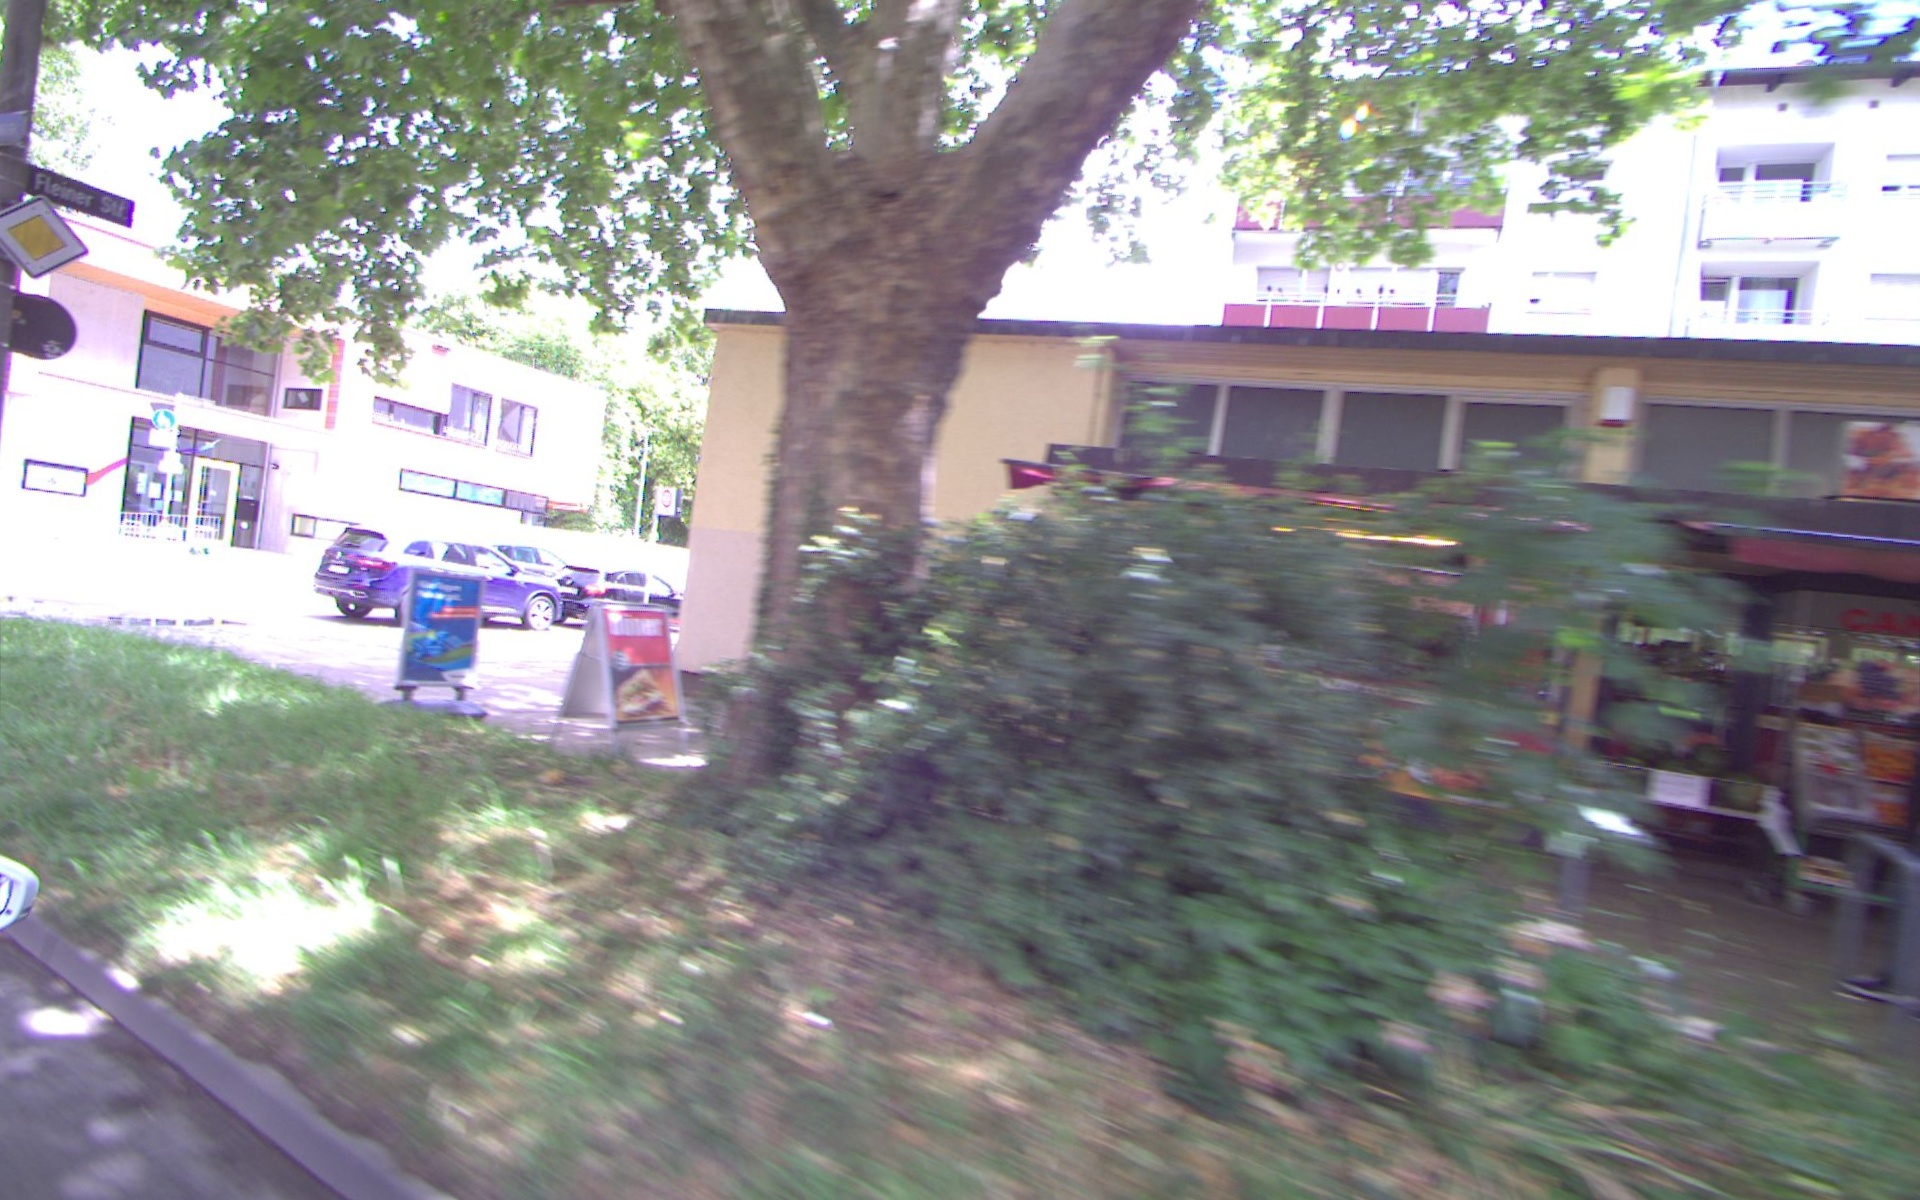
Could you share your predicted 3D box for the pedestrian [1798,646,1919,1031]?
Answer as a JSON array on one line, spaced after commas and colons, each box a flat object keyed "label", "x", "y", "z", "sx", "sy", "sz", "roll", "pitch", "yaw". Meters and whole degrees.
[{"label": "pedestrian", "x": 4.605, "y": 1.116, "z": 4.740, "sx": 0.759, "sy": 1.697, "sz": 0.624, "roll": 7, "pitch": 1, "yaw": 31}]

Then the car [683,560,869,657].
[{"label": "car", "x": -3.775, "y": 0.252, "z": 21.406, "sx": 1.778, "sy": 1.675, "sz": 4.103, "roll": 7, "pitch": 0, "yaw": 23}]

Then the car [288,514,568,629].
[{"label": "car", "x": -9.696, "y": -0.434, "z": 18.727, "sx": 1.976, "sy": 1.704, "sz": 4.187, "roll": 8, "pitch": 2, "yaw": 23}]

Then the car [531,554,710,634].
[{"label": "car", "x": -7.670, "y": -0.065, "z": 23.117, "sx": 1.498, "sy": 1.462, "sz": 3.997, "roll": 8, "pitch": 1, "yaw": 23}]

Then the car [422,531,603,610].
[{"label": "car", "x": -11.999, "y": -0.727, "z": 27.276, "sx": 1.858, "sy": 1.624, "sz": 4.241, "roll": 7, "pitch": 0, "yaw": 23}]

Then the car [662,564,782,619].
[{"label": "car", "x": -8.336, "y": -0.261, "z": 35.619, "sx": 1.858, "sy": 1.474, "sz": 4.241, "roll": 7, "pitch": 0, "yaw": 23}]
